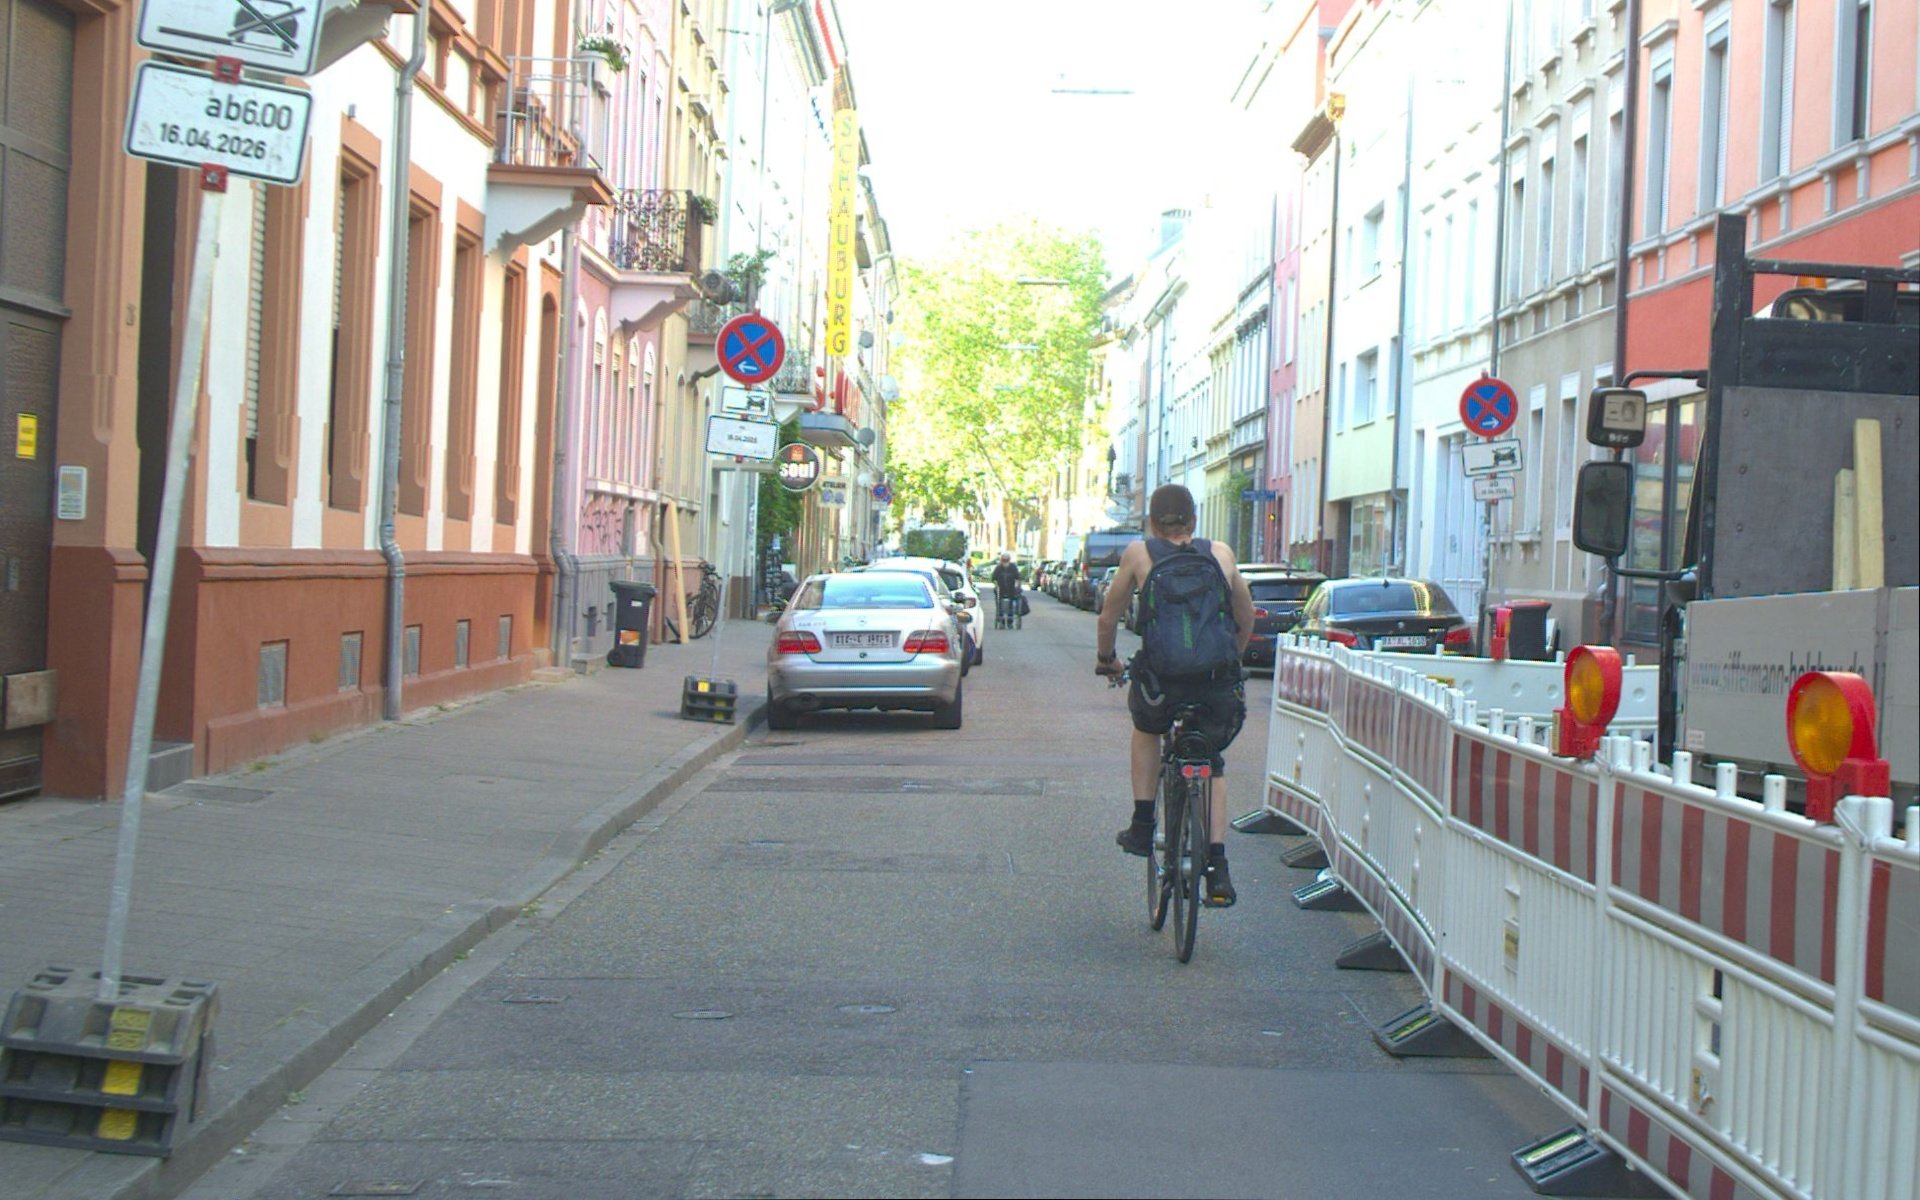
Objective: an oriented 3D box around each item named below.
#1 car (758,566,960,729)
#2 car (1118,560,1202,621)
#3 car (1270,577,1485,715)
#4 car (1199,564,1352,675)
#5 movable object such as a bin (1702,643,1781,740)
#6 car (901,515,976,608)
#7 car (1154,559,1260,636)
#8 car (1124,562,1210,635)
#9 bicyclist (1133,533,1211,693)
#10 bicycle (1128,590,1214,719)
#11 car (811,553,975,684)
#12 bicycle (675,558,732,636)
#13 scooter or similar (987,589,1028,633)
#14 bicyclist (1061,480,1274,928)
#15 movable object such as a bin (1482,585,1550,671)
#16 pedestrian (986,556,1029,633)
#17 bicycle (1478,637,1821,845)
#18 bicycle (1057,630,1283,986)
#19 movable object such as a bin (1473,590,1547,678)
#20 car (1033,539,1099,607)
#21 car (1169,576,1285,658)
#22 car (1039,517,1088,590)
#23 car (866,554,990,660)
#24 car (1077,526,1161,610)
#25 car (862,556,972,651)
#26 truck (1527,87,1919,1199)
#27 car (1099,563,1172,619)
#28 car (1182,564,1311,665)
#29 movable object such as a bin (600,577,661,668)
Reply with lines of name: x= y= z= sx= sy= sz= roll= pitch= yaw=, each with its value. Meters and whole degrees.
car: x=-0.863 y=0.394 z=31.553 sx=1.710 sy=1.378 sz=4.506 roll=0 pitch=0 yaw=0
car: x=4.646 y=-0.226 z=80.345 sx=1.710 sy=1.389 sz=4.000 roll=0 pitch=0 yaw=0
car: x=4.621 y=0.471 z=38.667 sx=1.817 sy=1.433 sz=4.791 roll=0 pitch=0 yaw=0
car: x=4.495 y=0.253 z=49.457 sx=1.817 sy=1.516 sz=4.000 roll=0 pitch=0 yaw=0
movable object such as a bin: x=7.335 y=0.855 z=32.287 sx=0.597 sy=0.903 sz=0.579 roll=0 pitch=-1 yaw=-1
car: x=-0.616 y=-1.087 z=96.443 sx=1.909 sy=2.488 sz=4.166 roll=2 pitch=1 yaw=-2
car: x=4.681 y=-0.057 z=65.580 sx=1.710 sy=1.378 sz=4.000 roll=1 pitch=0 yaw=0
car: x=4.508 y=-0.050 z=75.136 sx=1.620 sy=1.545 sz=4.000 roll=0 pitch=0 yaw=0
bicyclist: x=2.180 y=0.130 z=35.365 sx=0.702 sy=1.599 sz=0.813 roll=2 pitch=2 yaw=0
bicycle: x=2.161 y=0.545 z=35.484 sx=0.702 sy=1.203 sz=2.342 roll=2 pitch=2 yaw=0
car: x=-0.771 y=0.184 z=42.162 sx=1.711 sy=1.378 sz=4.355 roll=3 pitch=2 yaw=2
bicycle: x=-3.763 y=-0.055 z=50.573 sx=0.592 sy=1.085 sz=2.079 roll=4 pitch=0 yaw=0
scooter or similar: x=1.003 y=0.232 z=72.641 sx=0.770 sy=0.870 sz=0.771 roll=4 pitch=0 yaw=-2
bicyclist: x=0.781 y=0.380 z=13.223 sx=0.702 sy=1.627 sz=1.090 roll=2 pitch=0 yaw=0
movable object such as a bin: x=7.026 y=0.350 z=43.469 sx=0.807 sy=1.072 sz=0.677 roll=0 pitch=0 yaw=5
pedestrian: x=1.006 y=-0.119 z=73.073 sx=0.770 sy=1.573 sz=0.900 roll=4 pitch=0 yaw=-2
bicycle: x=4.140 y=0.841 z=20.691 sx=1.849 sy=1.106 sz=0.644 roll=4 pitch=0 yaw=-7
bicycle: x=0.775 y=0.747 z=13.353 sx=0.702 sy=1.204 sz=2.342 roll=2 pitch=0 yaw=0
movable object such as a bin: x=6.778 y=0.419 z=42.381 sx=0.736 sy=1.072 sz=0.677 roll=0 pitch=0 yaw=-6
car: x=4.080 y=-1.040 z=133.066 sx=2.307 sy=2.529 sz=6.770 roll=0 pitch=0 yaw=0
car: x=4.635 y=0.280 z=60.128 sx=1.710 sy=1.378 sz=4.000 roll=0 pitch=0 yaw=0
car: x=5.398 y=-2.417 z=180.433 sx=2.307 sy=3.755 sz=6.770 roll=0 pitch=0 yaw=0
car: x=-0.439 y=0.085 z=48.937 sx=1.672 sy=1.437 sz=4.165 roll=0 pitch=0 yaw=0
car: x=4.934 y=-0.977 z=107.639 sx=2.307 sy=2.529 sz=6.770 roll=0 pitch=0 yaw=0
car: x=-0.665 y=0.042 z=54.676 sx=1.672 sy=1.437 sz=3.768 roll=0 pitch=0 yaw=0
truck: x=3.659 y=0.191 z=10.026 sx=2.661 sy=2.804 sz=7.393 roll=4 pitch=0 yaw=0
car: x=4.677 y=-0.246 z=91.977 sx=1.710 sy=1.442 sz=4.000 roll=0 pitch=0 yaw=0
car: x=4.556 y=0.216 z=55.069 sx=1.710 sy=1.551 sz=4.000 roll=0 pitch=0 yaw=0
movable object such as a bin: x=-3.581 y=0.241 z=37.354 sx=0.543 sy=0.941 sz=0.487 roll=4 pitch=0 yaw=1
